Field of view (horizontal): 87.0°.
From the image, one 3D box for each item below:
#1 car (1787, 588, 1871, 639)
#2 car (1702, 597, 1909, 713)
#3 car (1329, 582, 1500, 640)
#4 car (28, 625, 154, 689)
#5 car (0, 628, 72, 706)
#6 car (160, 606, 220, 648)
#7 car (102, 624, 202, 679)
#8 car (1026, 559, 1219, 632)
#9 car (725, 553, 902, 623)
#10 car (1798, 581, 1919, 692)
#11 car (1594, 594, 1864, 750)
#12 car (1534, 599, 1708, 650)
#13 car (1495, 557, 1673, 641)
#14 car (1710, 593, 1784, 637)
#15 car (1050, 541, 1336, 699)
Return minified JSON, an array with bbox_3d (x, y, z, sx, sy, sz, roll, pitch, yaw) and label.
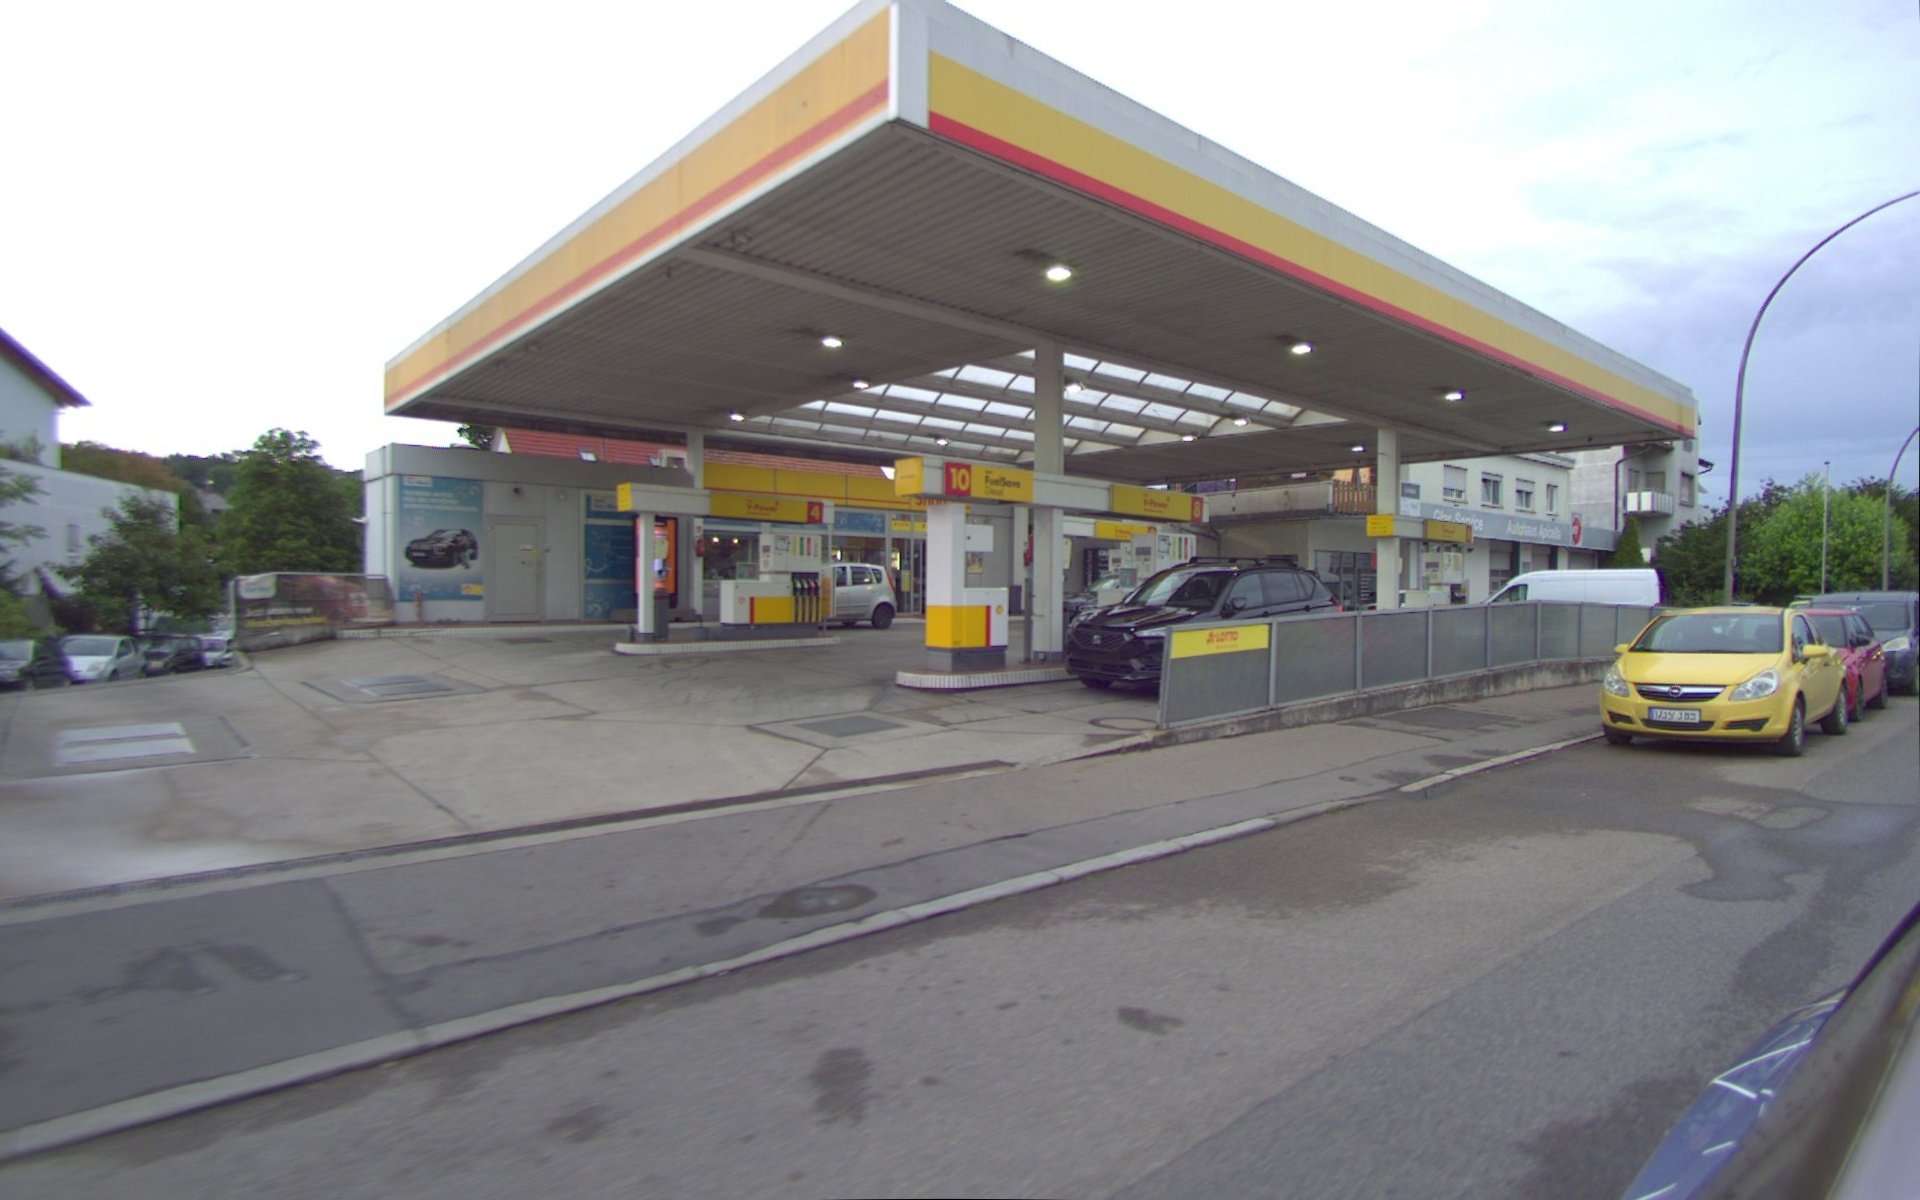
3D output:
[{"bbox_3d":[31.191,0.465,36.297,1.994,1.704,3.935,1,1,45],"label":"car"},{"bbox_3d":[12.003,0.673,14.284,3.954,1.394,1.659,0,1,-41],"label":"car"},{"bbox_3d":[13.794,0.309,30.912,4.282,1.662,1.998,1,0,3],"label":"car"},{"bbox_3d":[-23.599,1.488,27.638,1.643,1.393,3.846,1,2,-26],"label":"car"},{"bbox_3d":[-21.282,1.428,22.346,1.643,1.393,3.845,1,2,-28],"label":"car"},{"bbox_3d":[-27.756,0.947,36.556,1.579,1.304,3.306,1,2,-35],"label":"car"},{"bbox_3d":[-24.891,1.544,31.298,1.643,1.393,3.590,1,2,-26],"label":"car"},{"bbox_3d":[3.718,-0.099,22.643,4.592,1.484,1.743,0,1,-41],"label":"car"},{"bbox_3d":[-3.353,-0.263,23.513,3.714,1.484,1.743,0,1,-41],"label":"car"},{"bbox_3d":[16.472,0.595,18.045,4.367,1.760,1.658,0,-2,-41],"label":"car"},{"bbox_3d":[8.565,0.656,11.168,3.735,1.419,1.659,0,1,-41],"label":"car"},{"bbox_3d":[19.697,0.709,30.301,3.934,1.392,1.776,0,1,9],"label":"car"},{"bbox_3d":[20.250,-0.085,33.155,4.760,2.552,2.225,1,0,28],"label":"car"},{"bbox_3d":[30.744,0.566,39.503,3.671,1.538,1.749,1,4,-45],"label":"car"},{"bbox_3d":[3.183,0.206,13.408,3.933,1.781,1.821,0,1,-43],"label":"car"}]
